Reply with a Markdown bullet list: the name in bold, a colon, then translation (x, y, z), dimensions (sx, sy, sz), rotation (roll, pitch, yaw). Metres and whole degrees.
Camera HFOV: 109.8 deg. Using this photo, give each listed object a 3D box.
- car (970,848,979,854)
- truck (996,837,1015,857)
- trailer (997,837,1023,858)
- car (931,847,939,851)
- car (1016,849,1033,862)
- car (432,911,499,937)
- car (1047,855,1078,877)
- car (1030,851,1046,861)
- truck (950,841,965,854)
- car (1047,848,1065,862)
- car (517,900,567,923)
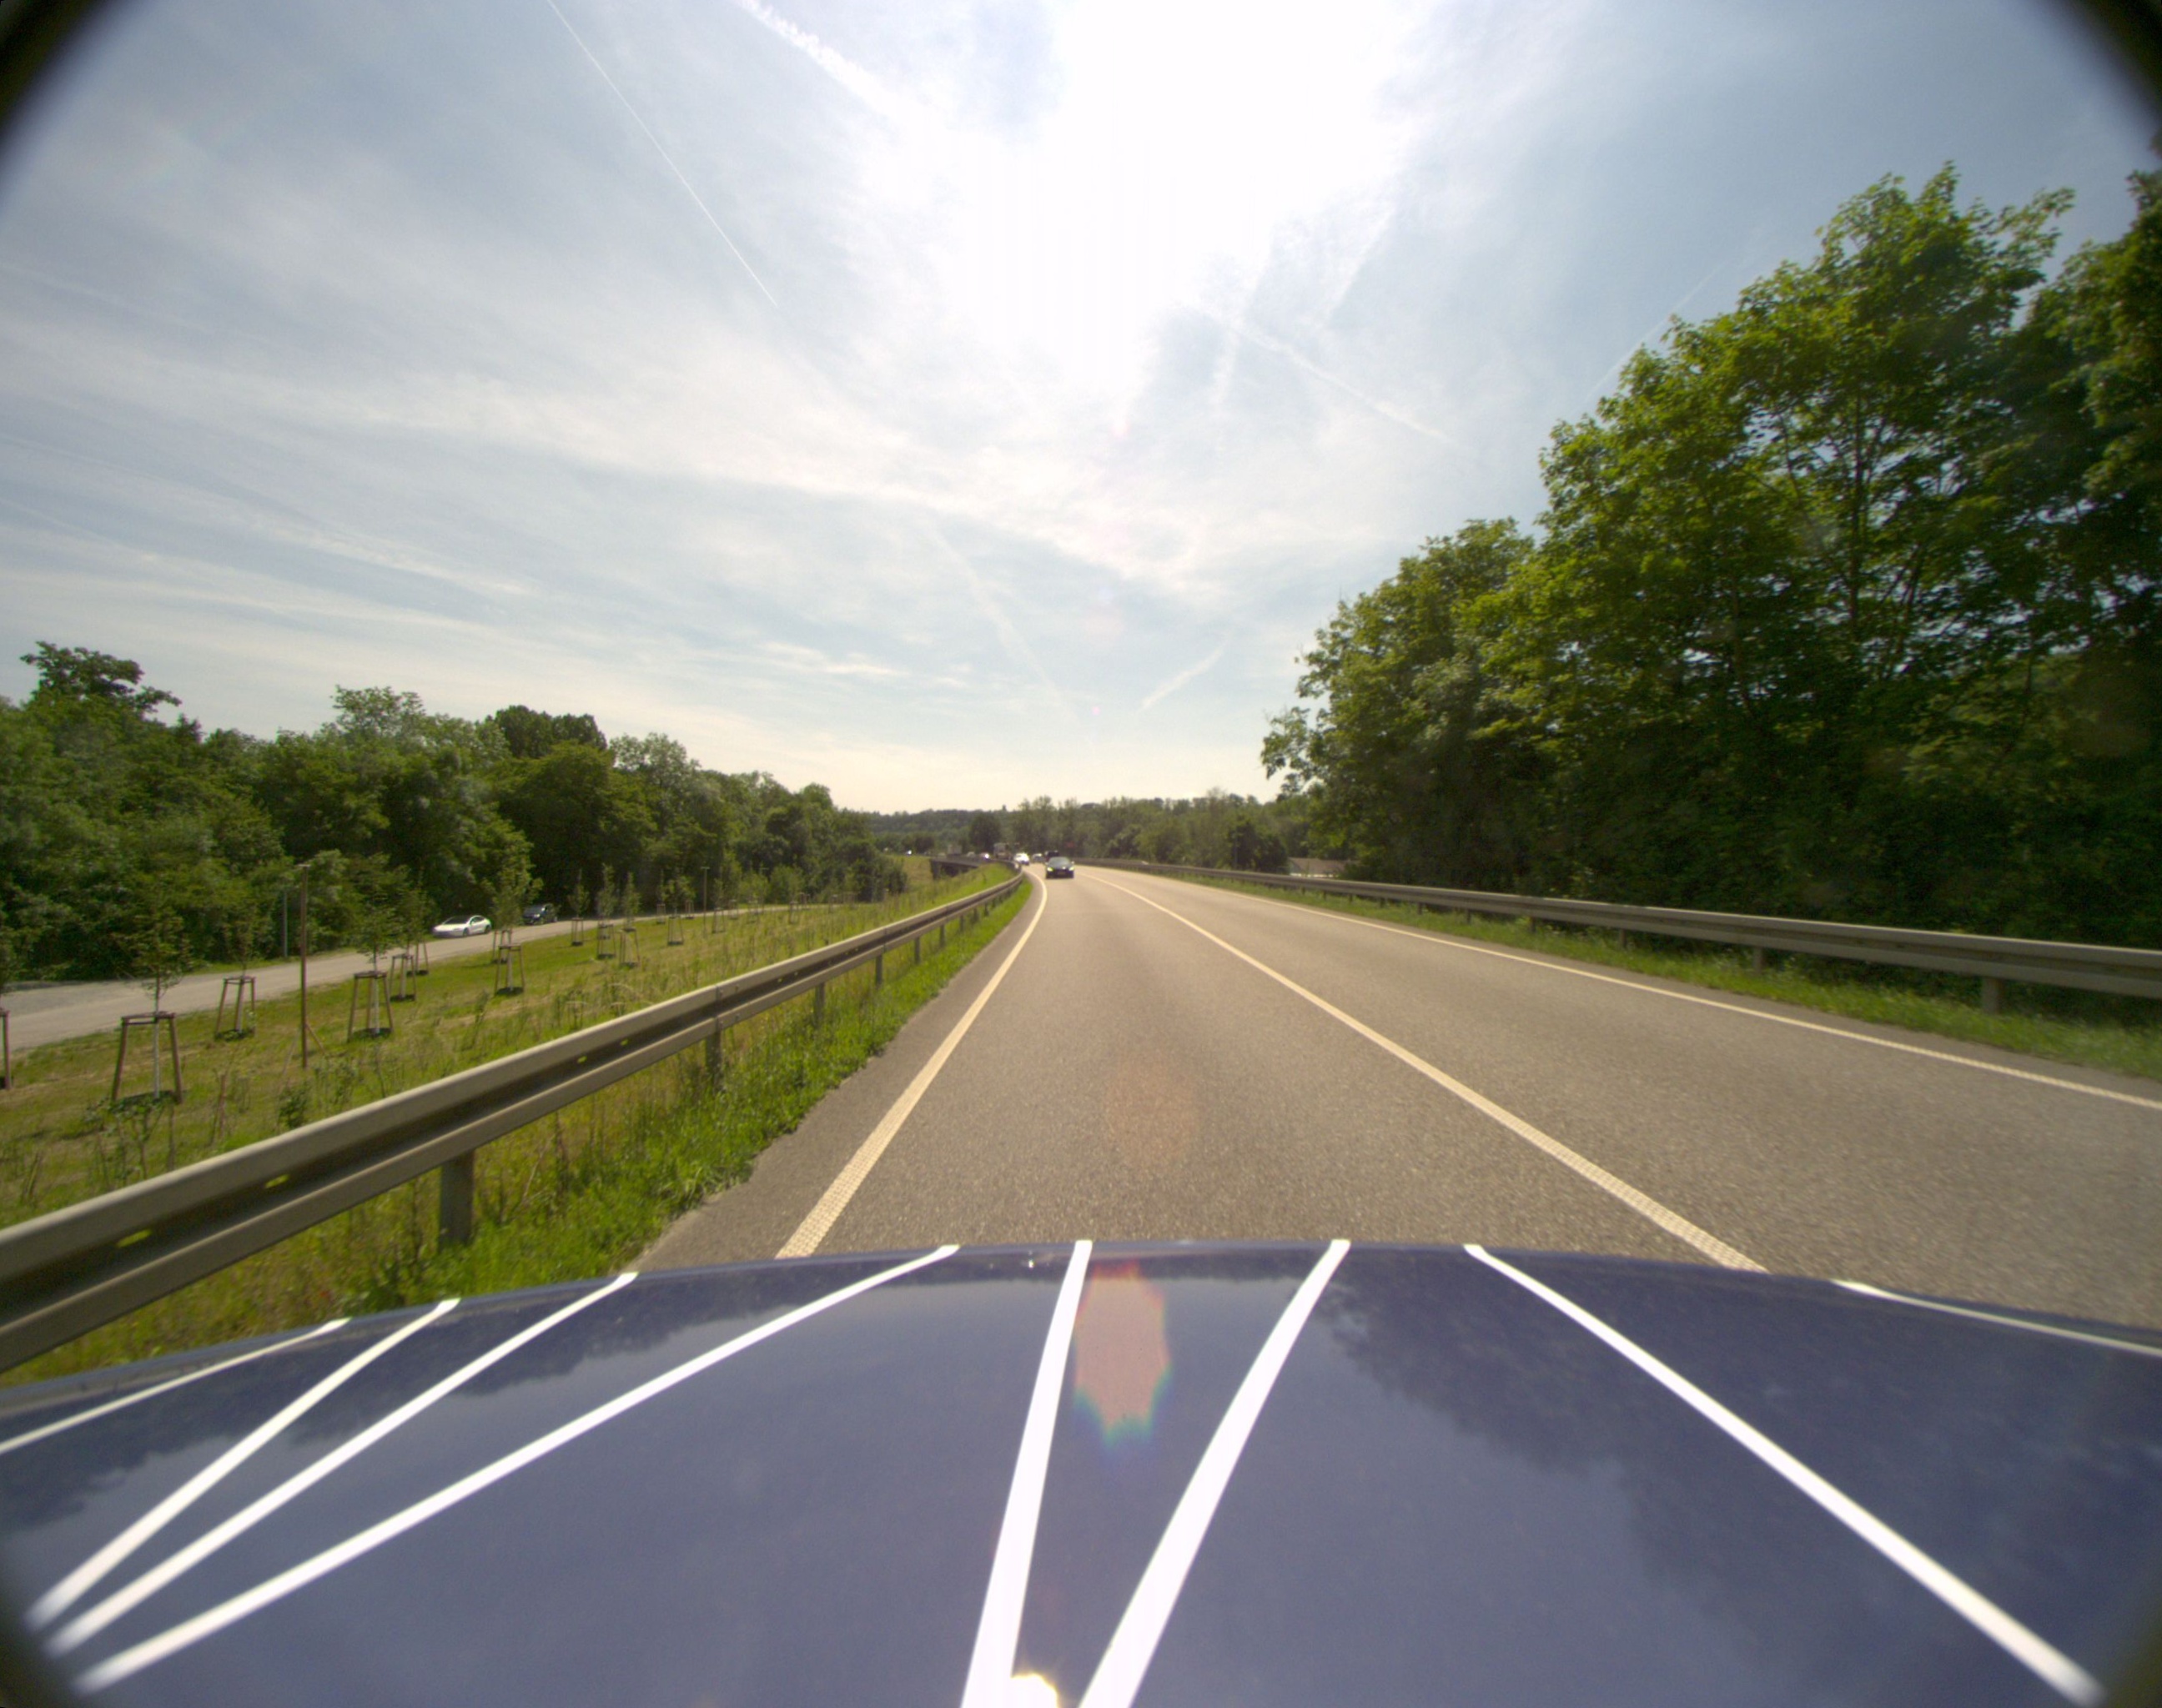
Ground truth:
- **car**: translation (-27.804, -0.726, 198.753), dimensions (1.764, 1.503, 3.994), rotation (-2, 2, -15)
- **truck**: translation (-15.894, -1.445, 159.008), dimensions (3.129, 3.935, 6.613), rotation (-1, 1, -13)
- **trailer**: translation (-14.444, -1.386, 152.541), dimensions (3.129, 3.957, 15.337), rotation (-1, 1, -13)
- **car**: translation (-49.117, -1.704, 255.128), dimensions (1.728, 1.474, 4.560), rotation (-2, 1, -22)
- **car**: translation (-7.665, 0.202, 103.454), dimensions (1.982, 1.779, 3.997), rotation (-2, 1, -8)
- **car**: translation (-44.096, 4.984, 54.599), dimensions (1.864, 1.474, 4.602), rotation (2, -1, -13)
- **car**: translation (-1.295, 0.799, 51.690), dimensions (1.981, 1.333, 3.998), rotation (-1, 1, -3)
- **car**: translation (-6.912, 0.241, 121.291), dimensions (1.774, 1.485, 4.165), rotation (-2, 1, -12)
- **truck**: translation (-35.648, -1.831, 219.772), dimensions (2.926, 3.781, 9.693), rotation (-2, 0, -17)
- **car**: translation (-3.463, 0.065, 104.375), dimensions (1.928, 1.849, 5.171), rotation (-2, 1, -7)
- **car**: translation (-46.456, 4.962, 65.633), dimensions (1.864, 1.672, 4.196), rotation (2, -1, -10)
